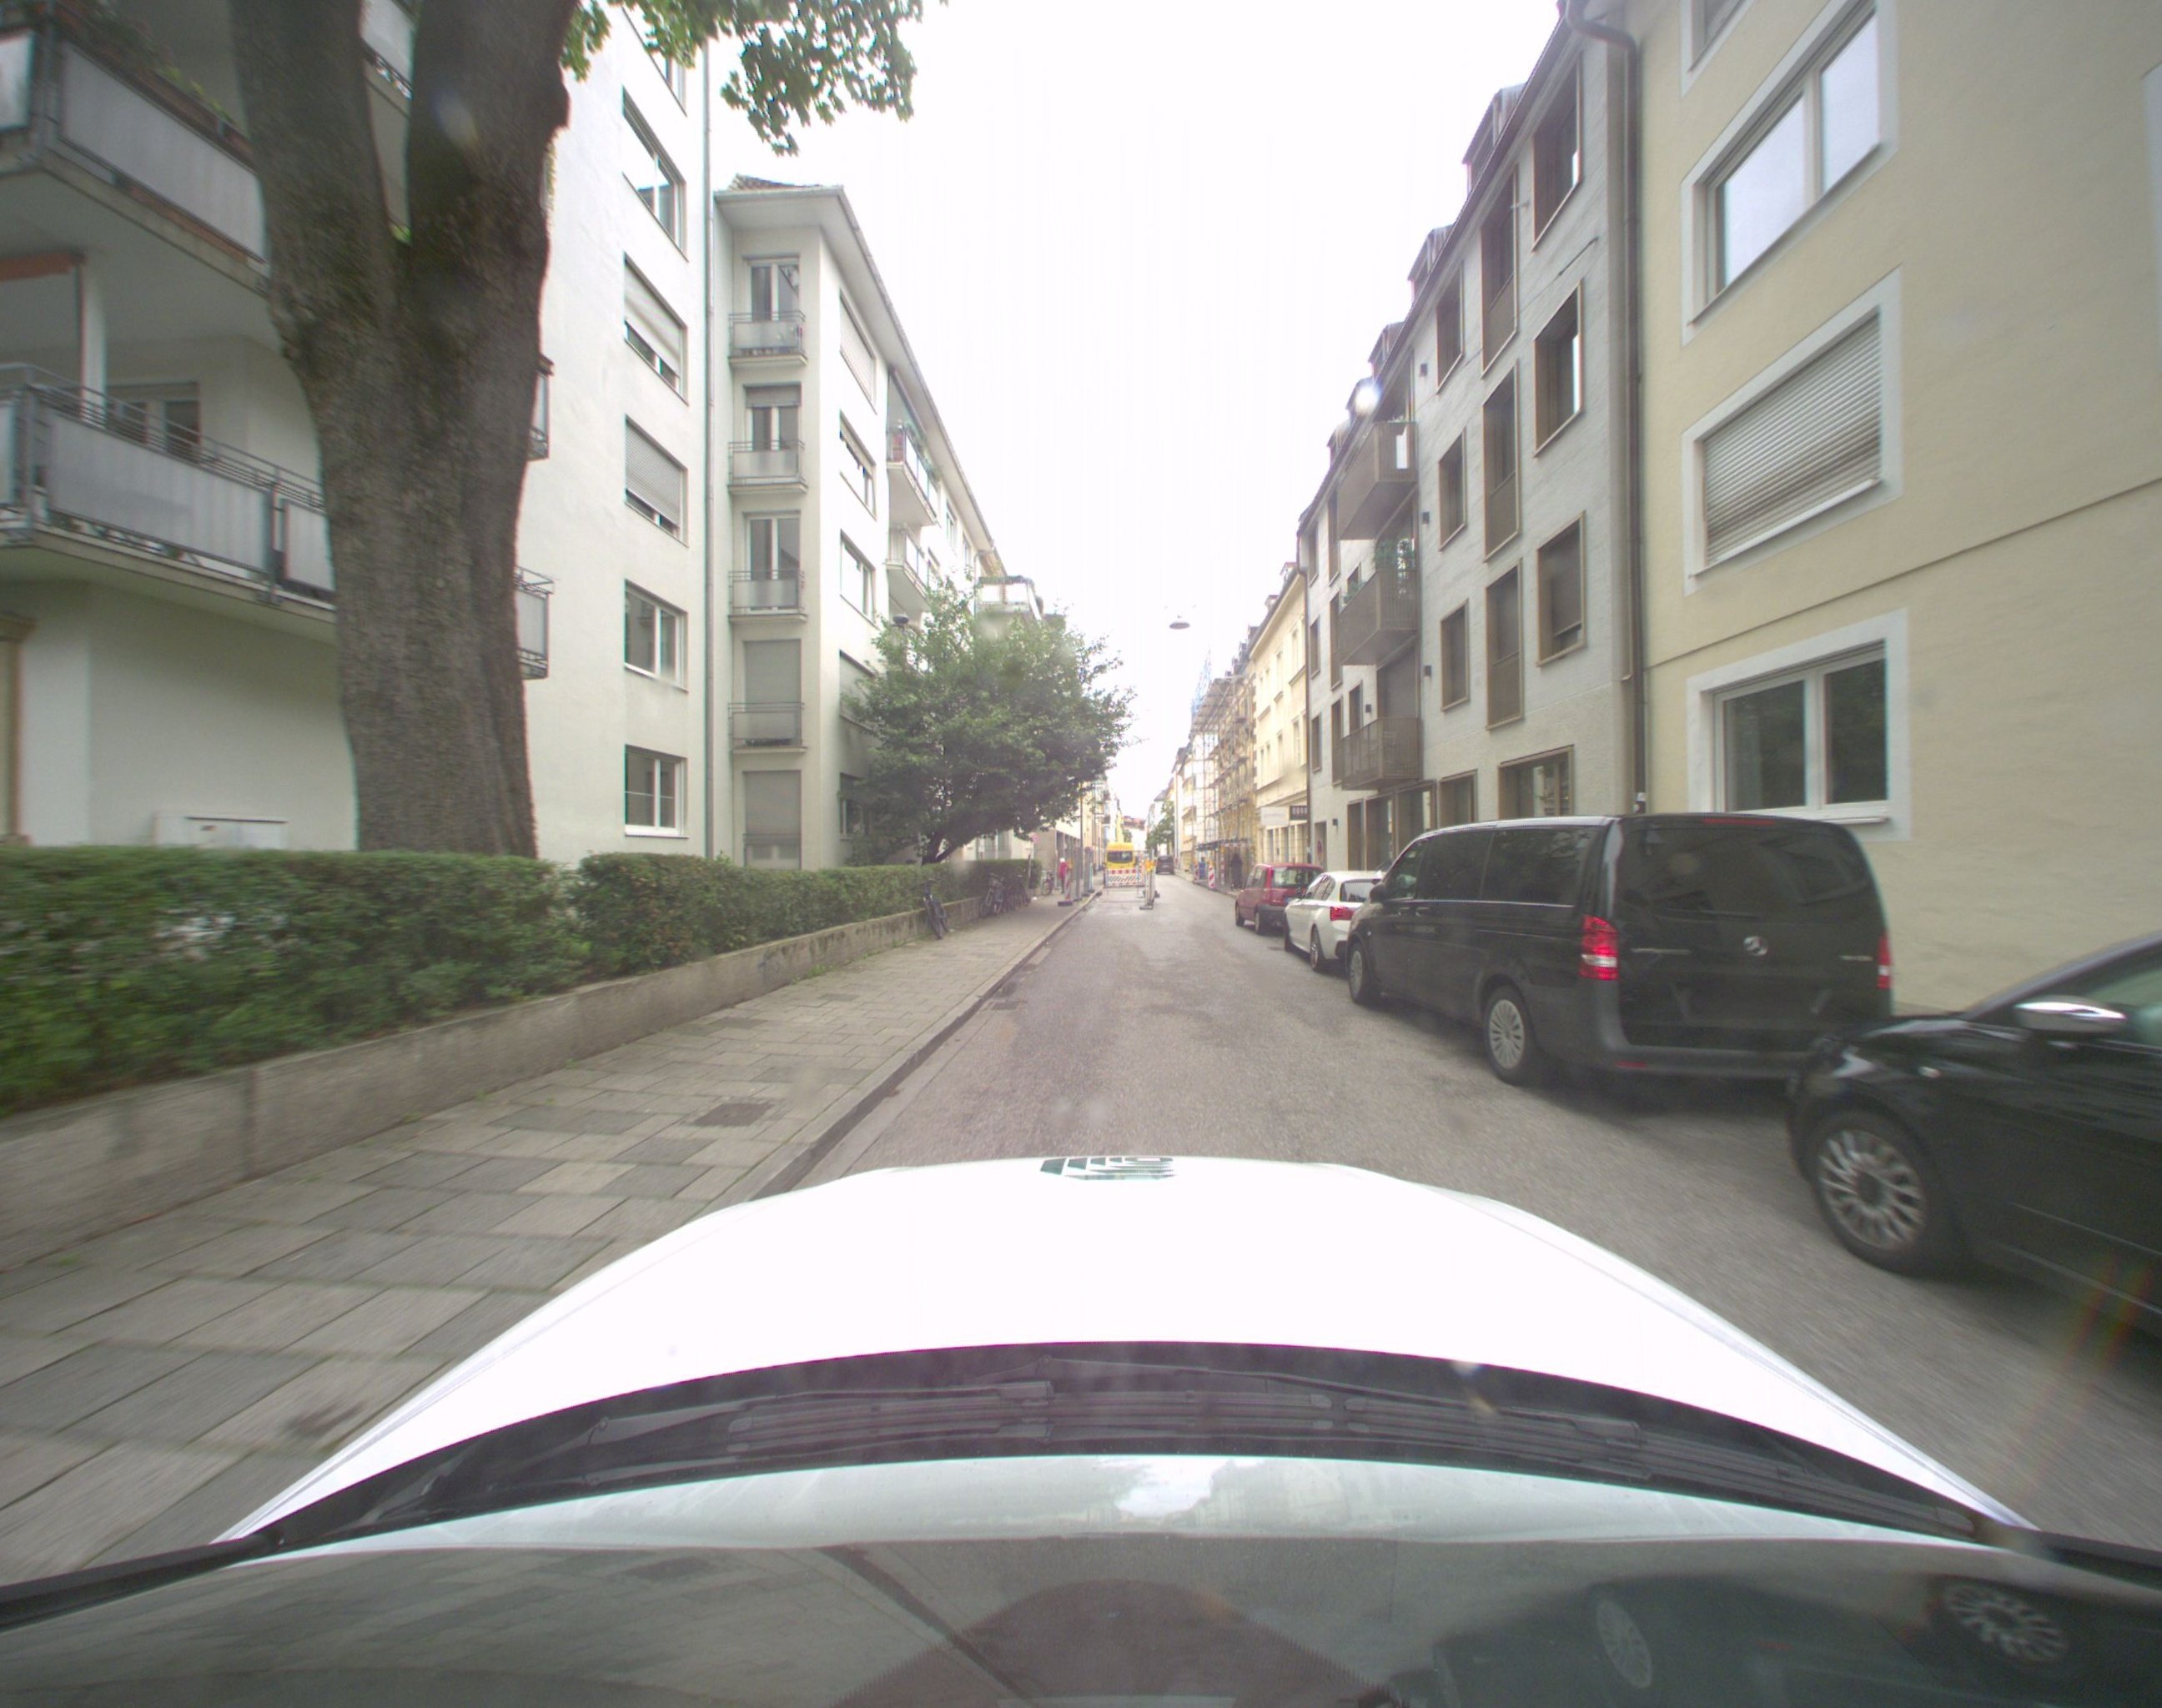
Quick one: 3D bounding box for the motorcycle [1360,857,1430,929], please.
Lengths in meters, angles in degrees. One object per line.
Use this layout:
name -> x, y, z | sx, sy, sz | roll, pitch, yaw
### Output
motorcycle -> 6.704, 0.806, 17.510 | 0.801, 1.423, 1.934 | -3, -1, 4

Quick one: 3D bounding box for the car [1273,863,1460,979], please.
car -> 4.254, 0.902, 12.877 | 1.760, 1.461, 4.386 | 1, 0, 5

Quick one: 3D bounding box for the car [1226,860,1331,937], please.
car -> 4.369, 0.915, 18.604 | 1.763, 1.524, 4.072 | 1, 0, 5

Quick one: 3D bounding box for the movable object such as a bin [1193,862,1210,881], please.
movable object such as a bin -> 9.189, 1.304, 62.100 | 1.078, 1.346, 1.323 | -4, -1, 16

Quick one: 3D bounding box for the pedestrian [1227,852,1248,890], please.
pedestrian -> 7.566, 0.805, 39.443 | 0.726, 1.752, 0.989 | -4, -1, 3

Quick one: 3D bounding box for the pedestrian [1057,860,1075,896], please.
pedestrian -> -0.654, 1.048, 35.598 | 0.635, 1.532, 0.748 | -2, -1, 5

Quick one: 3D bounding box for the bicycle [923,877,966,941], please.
bicycle -> -2.533, 0.996, 15.225 | 0.345, 1.072, 1.782 | 3, 0, 4

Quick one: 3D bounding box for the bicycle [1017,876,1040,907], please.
bicycle -> -1.689, 1.206, 26.554 | 0.441, 0.978, 1.818 | 2, -1, 5

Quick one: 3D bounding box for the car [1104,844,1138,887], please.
car -> 2.602, 0.704, 52.805 | 1.985, 2.579, 6.741 | -1, -1, 3

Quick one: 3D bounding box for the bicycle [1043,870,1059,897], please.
bicycle -> -1.261, 1.251, 34.491 | 0.375, 1.063, 1.599 | 5, 0, 4

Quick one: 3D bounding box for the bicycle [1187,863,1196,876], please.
bicycle -> 10.531, 1.449, 77.579 | 0.635, 1.153, 1.917 | -4, 0, 4

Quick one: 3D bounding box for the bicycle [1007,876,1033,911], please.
bicycle -> -1.835, 1.179, 24.692 | 0.441, 0.978, 1.856 | 2, -1, 5

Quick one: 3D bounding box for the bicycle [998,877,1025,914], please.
bicycle -> -1.956, 1.159, 23.133 | 0.433, 0.978, 1.701 | 2, -1, 5

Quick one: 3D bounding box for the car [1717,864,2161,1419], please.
car -> 3.702, 0.786, 2.039 | 1.627, 1.471, 3.541 | 1, 0, 4

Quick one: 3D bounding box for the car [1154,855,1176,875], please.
car -> 8.710, 1.130, 84.598 | 1.985, 1.932, 4.663 | 1, 0, 3

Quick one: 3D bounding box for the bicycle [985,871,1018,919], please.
bicycle -> -1.996, 1.025, 20.666 | 0.486, 1.151, 1.701 | 2, -1, 5

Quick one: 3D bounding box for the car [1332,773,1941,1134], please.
car -> 3.860, 0.570, 6.993 | 1.983, 1.977, 4.886 | 1, 0, 1

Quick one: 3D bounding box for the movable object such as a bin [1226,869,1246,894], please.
movable object such as a bin -> 7.648, 1.369, 40.183 | 0.726, 1.141, 0.989 | -5, -1, 2
